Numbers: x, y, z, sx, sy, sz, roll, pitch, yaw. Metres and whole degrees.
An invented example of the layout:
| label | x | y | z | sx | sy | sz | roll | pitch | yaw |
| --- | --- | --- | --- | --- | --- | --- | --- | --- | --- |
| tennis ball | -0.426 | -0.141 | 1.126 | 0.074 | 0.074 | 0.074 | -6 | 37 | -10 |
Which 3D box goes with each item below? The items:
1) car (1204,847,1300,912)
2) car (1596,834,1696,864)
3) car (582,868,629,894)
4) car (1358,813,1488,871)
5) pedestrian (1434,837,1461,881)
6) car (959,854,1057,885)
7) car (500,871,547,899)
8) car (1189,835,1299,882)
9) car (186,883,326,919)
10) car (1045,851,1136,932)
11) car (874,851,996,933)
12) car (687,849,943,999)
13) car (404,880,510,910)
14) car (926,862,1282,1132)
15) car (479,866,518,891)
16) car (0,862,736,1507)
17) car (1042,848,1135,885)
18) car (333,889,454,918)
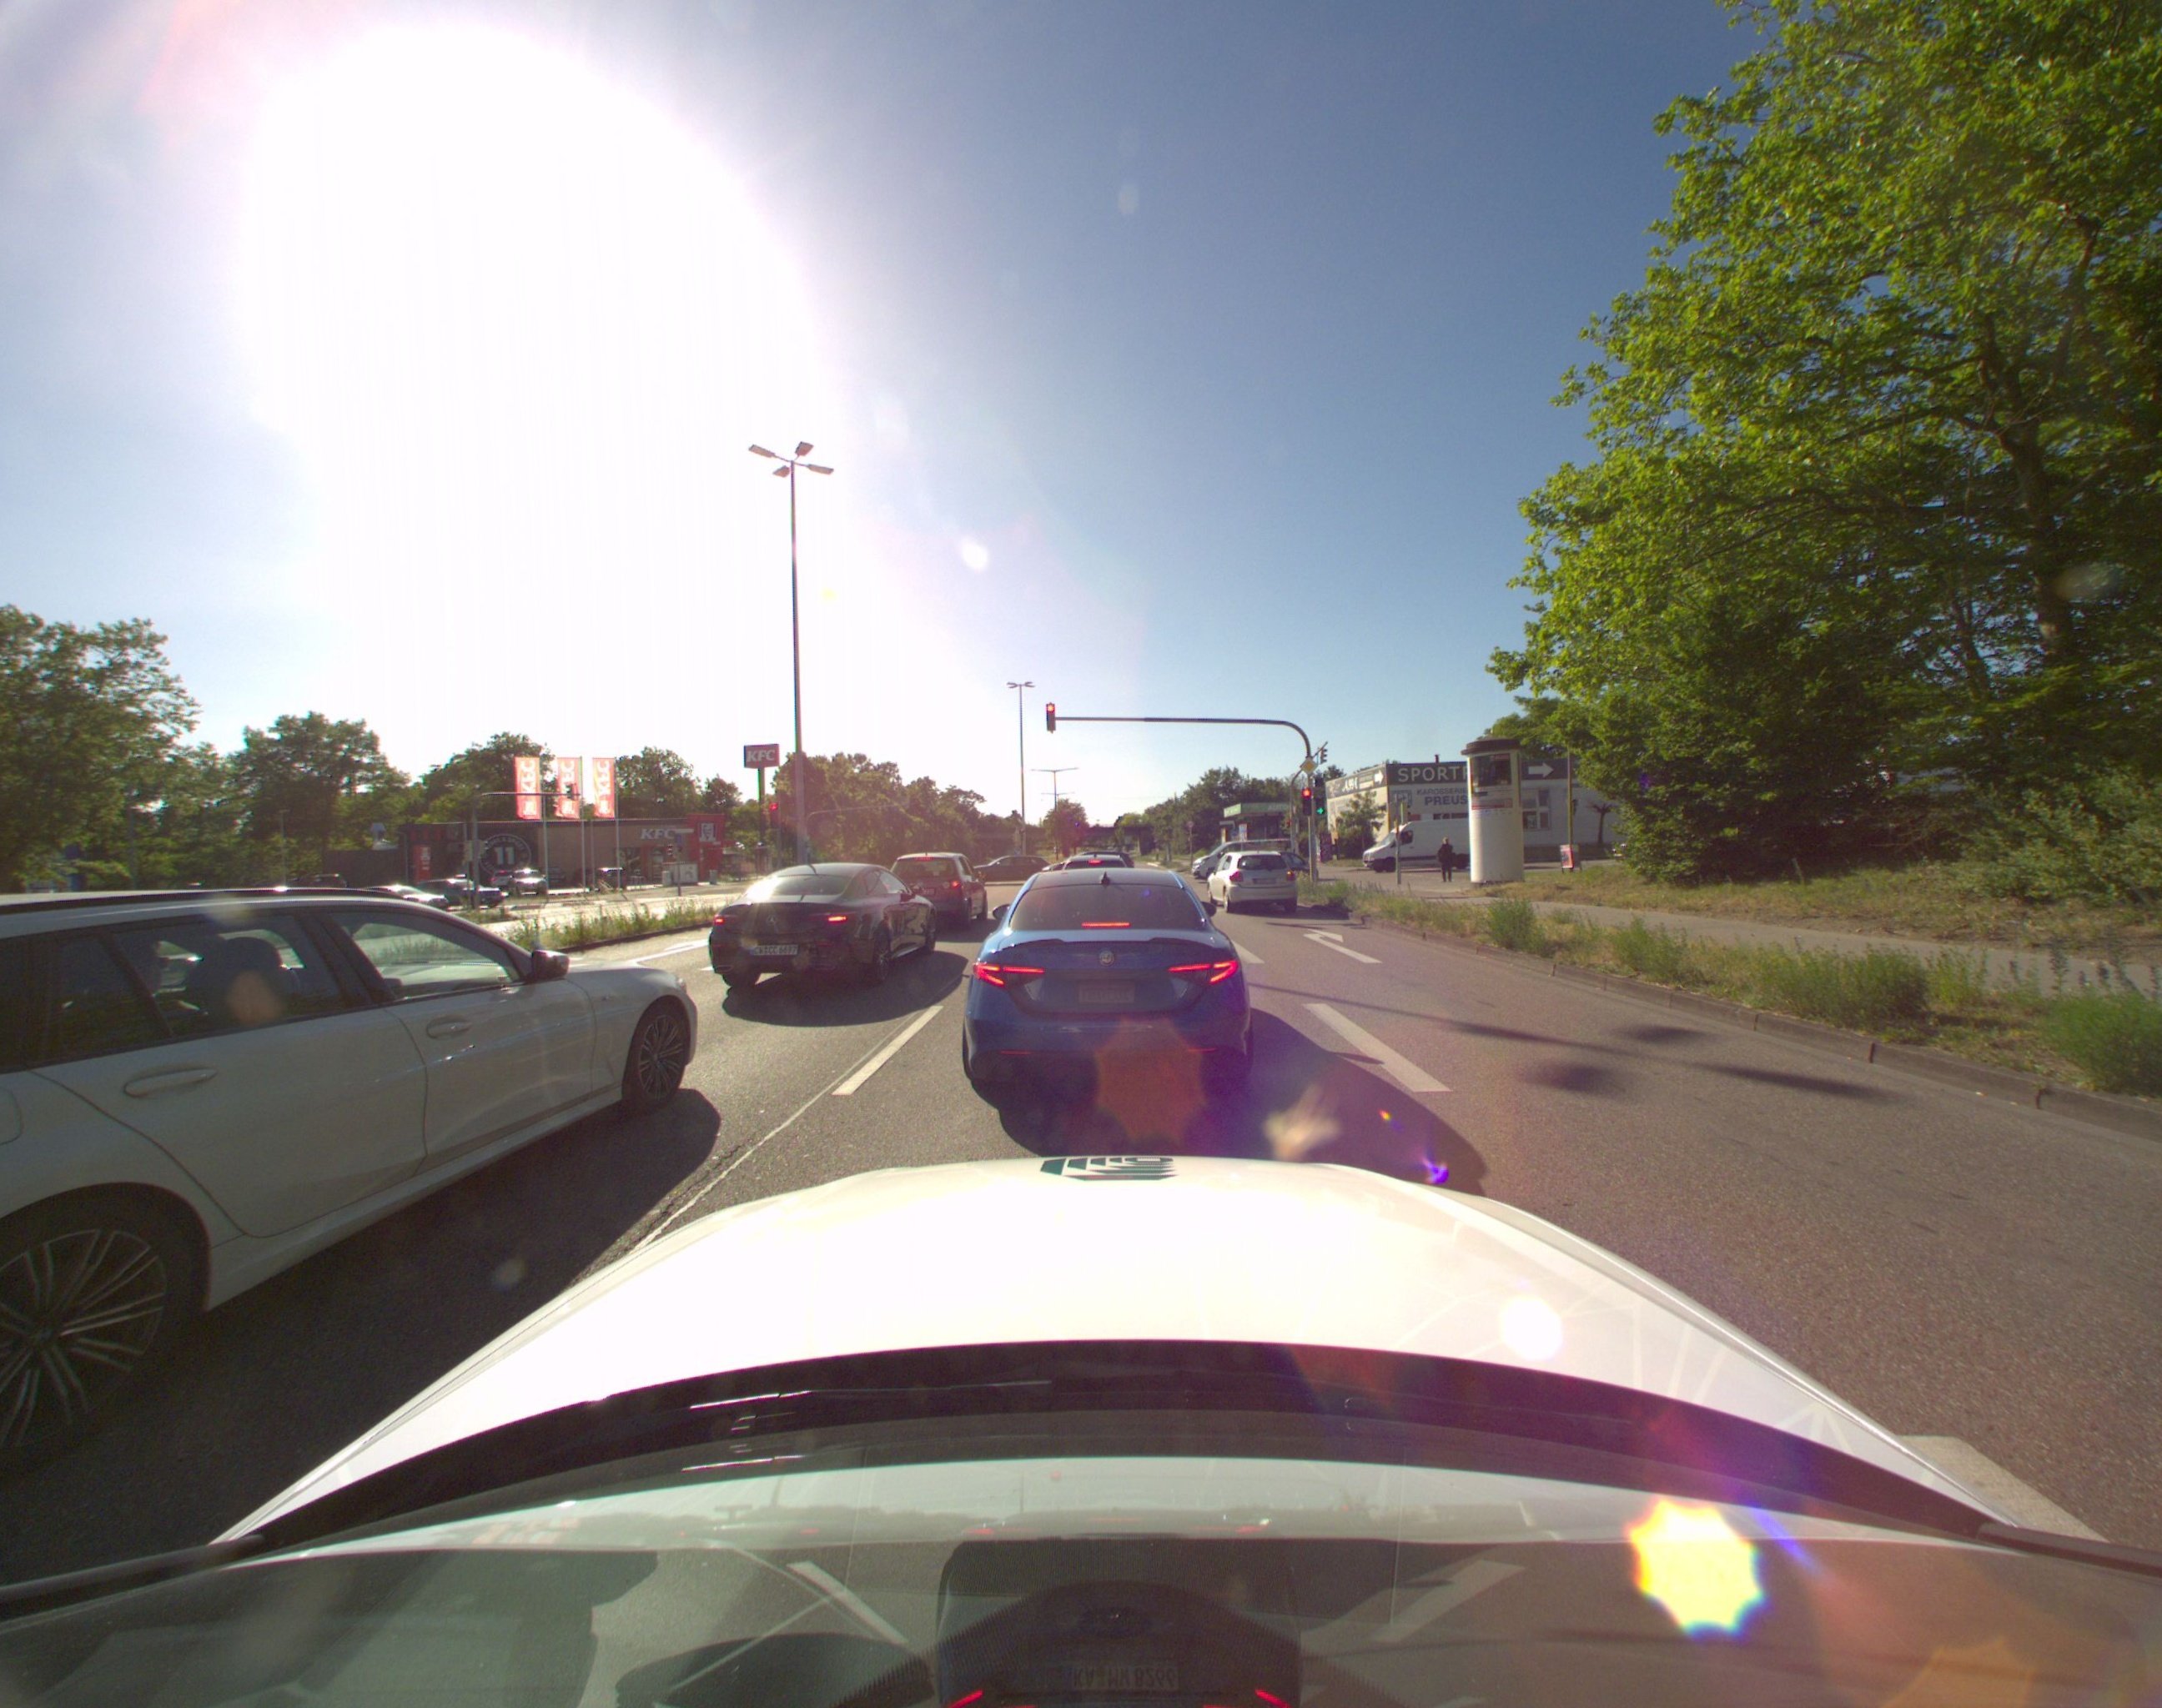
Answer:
| label | x | y | z | sx | sy | sz | roll | pitch | yaw |
| --- | --- | --- | --- | --- | --- | --- | --- | --- | --- |
| car | 4.391 | 0.595 | 21.480 | 1.777 | 1.537 | 4.109 | 0 | 0 | 2 |
| car | 29.886 | -0.248 | 43.156 | 3.972 | 1.508 | 1.879 | 0 | -1 | 2 |
| car | -33.909 | 1.868 | 58.021 | 1.946 | 1.740 | 4.046 | 0 | -1 | -45 |
| car | 17.718 | -0.616 | 42.375 | 5.812 | 2.672 | 2.001 | -3 | -1 | 2 |
| pedestrian | 14.193 | 0.186 | 31.575 | 0.814 | 1.669 | 0.514 | 0 | -1 | 1 |
| car | -3.723 | 0.766 | 41.098 | 4.820 | 1.468 | 1.752 | 0 | -1 | -11 |
| car | -37.376 | 2.023 | 54.551 | 1.946 | 1.740 | 4.046 | 0 | -1 | -45 |
| car | 7.835 | 0.224 | 39.428 | 4.937 | 2.035 | 1.881 | -2 | -1 | 0 |
| car | -39.092 | 2.189 | 38.687 | 4.608 | 1.579 | 1.936 | 0 | -1 | 0 |
| car | 0.297 | 0.720 | 17.075 | 1.696 | 1.497 | 3.722 | 0 | -1 | 3 |
| car | -3.005 | 0.737 | 17.616 | 1.806 | 1.551 | 4.353 | 0 | -1 | 0 |
| car | -3.189 | 0.738 | 10.849 | 1.806 | 1.551 | 4.544 | -1 | 0 | 1 |
| car | -31.916 | 2.095 | 41.747 | 3.940 | 1.453 | 1.936 | 0 | -1 | 1 |
| car | 0.227 | 0.784 | 6.227 | 1.901 | 1.423 | 3.722 | 0 | -1 | 3 |
| car | -45.467 | 1.879 | 63.575 | 2.011 | 1.813 | 3.727 | 0 | -1 | -43 |
| car | -3.421 | 0.822 | 3.414 | 1.805 | 1.486 | 4.599 | -1 | 0 | 2 |
| car | 0.365 | 0.571 | 38.145 | 4.291 | 1.650 | 1.638 | 0 | -1 | 1 |
| car | -32.179 | 2.316 | 38.204 | 4.070 | 1.252 | 1.871 | 0 | -1 | 0 |
